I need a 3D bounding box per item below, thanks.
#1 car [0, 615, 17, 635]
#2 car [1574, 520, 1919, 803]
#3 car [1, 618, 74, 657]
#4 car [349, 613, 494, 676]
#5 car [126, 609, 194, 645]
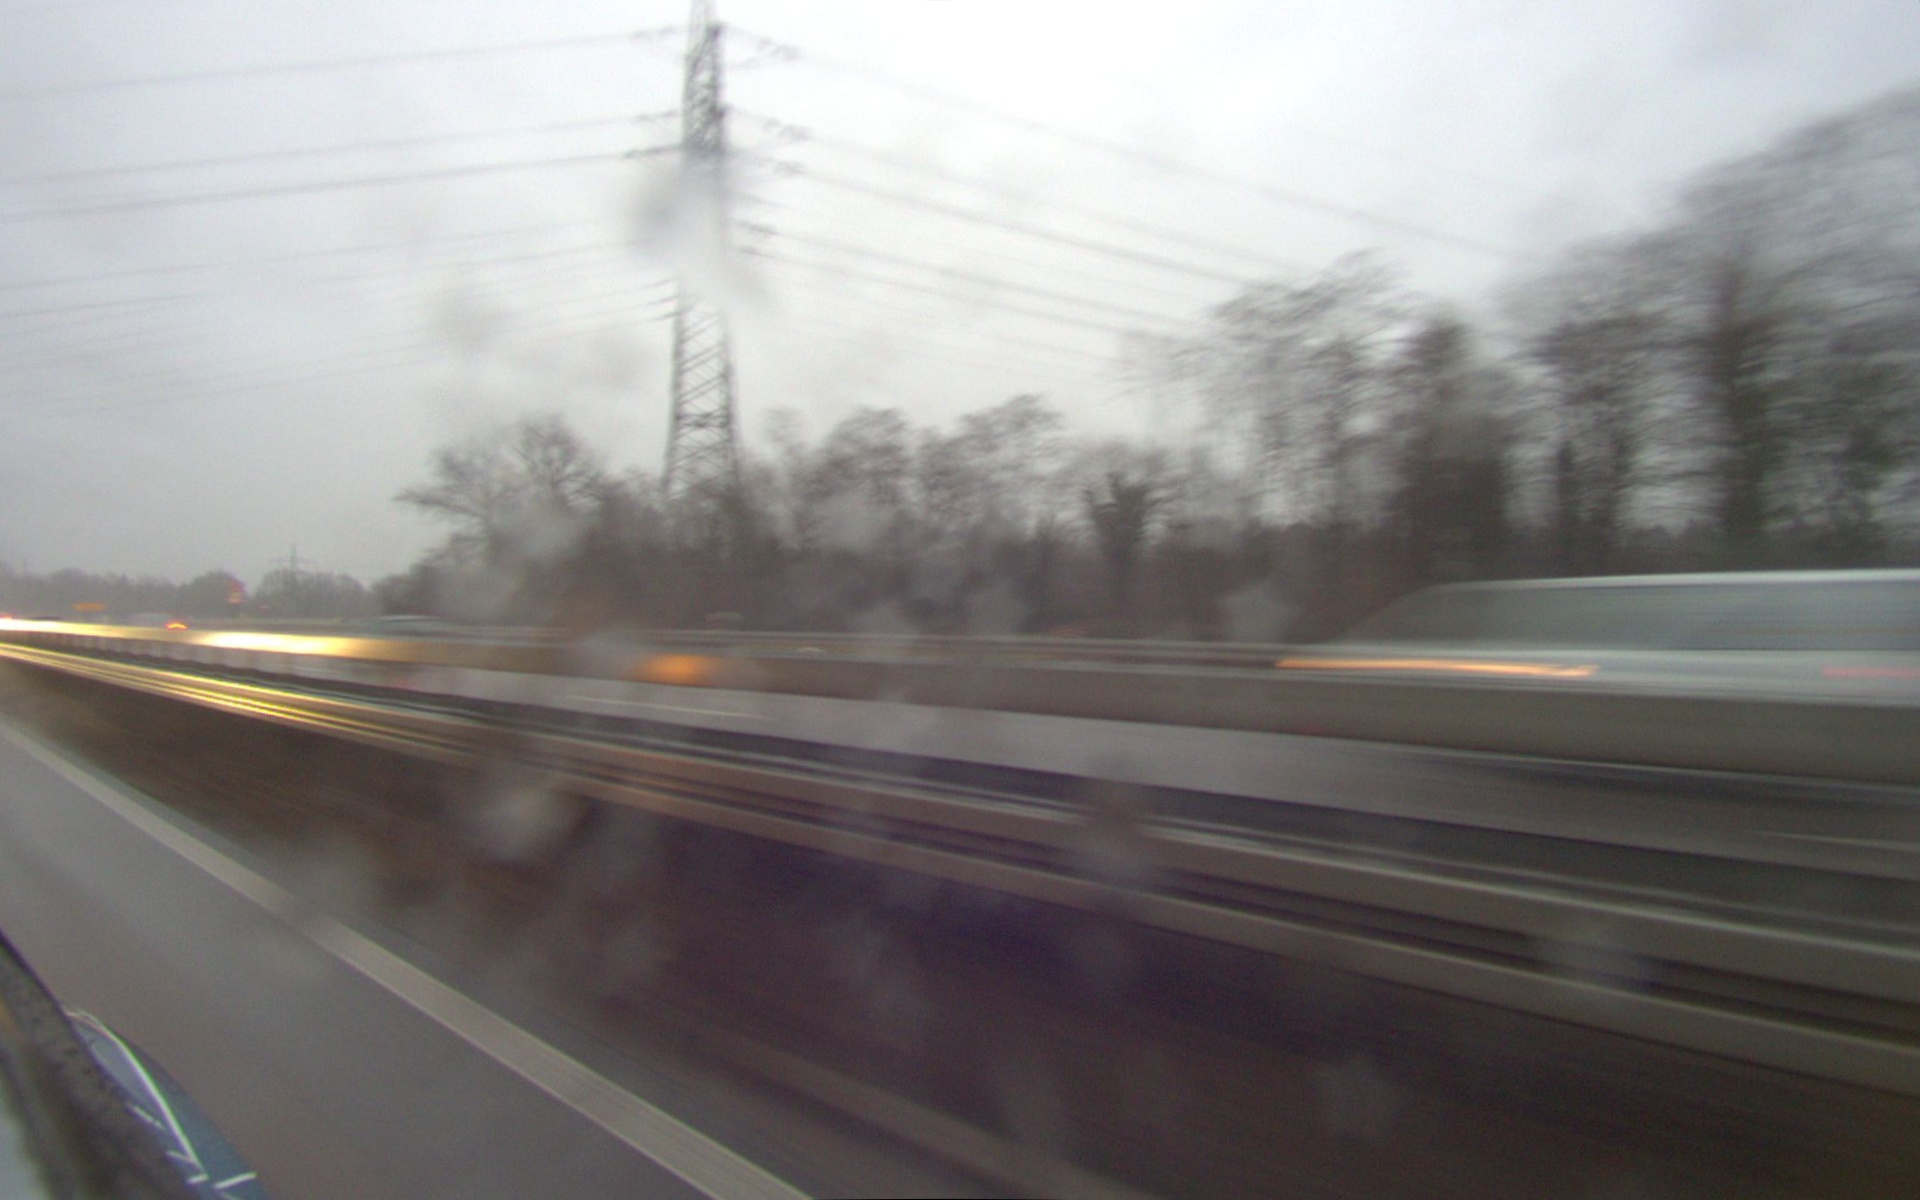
[{"bbox_3d":[-78.654,2.067,82.729,4.750,1.583,1.778,-1,0,41],"label":"car"},{"bbox_3d":[7.889,0.448,7.707,5.254,2.029,1.973,0,-1,41],"label":"car"},{"bbox_3d":[-39.480,1.582,43.263,4.407,1.517,1.680,-1,-6,41],"label":"car"},{"bbox_3d":[-13.539,1.063,25.343,4.407,1.418,1.738,-1,0,41],"label":"car"},{"bbox_3d":[-38.460,1.247,48.608,4.000,1.593,1.972,0,0,43],"label":"car"}]
